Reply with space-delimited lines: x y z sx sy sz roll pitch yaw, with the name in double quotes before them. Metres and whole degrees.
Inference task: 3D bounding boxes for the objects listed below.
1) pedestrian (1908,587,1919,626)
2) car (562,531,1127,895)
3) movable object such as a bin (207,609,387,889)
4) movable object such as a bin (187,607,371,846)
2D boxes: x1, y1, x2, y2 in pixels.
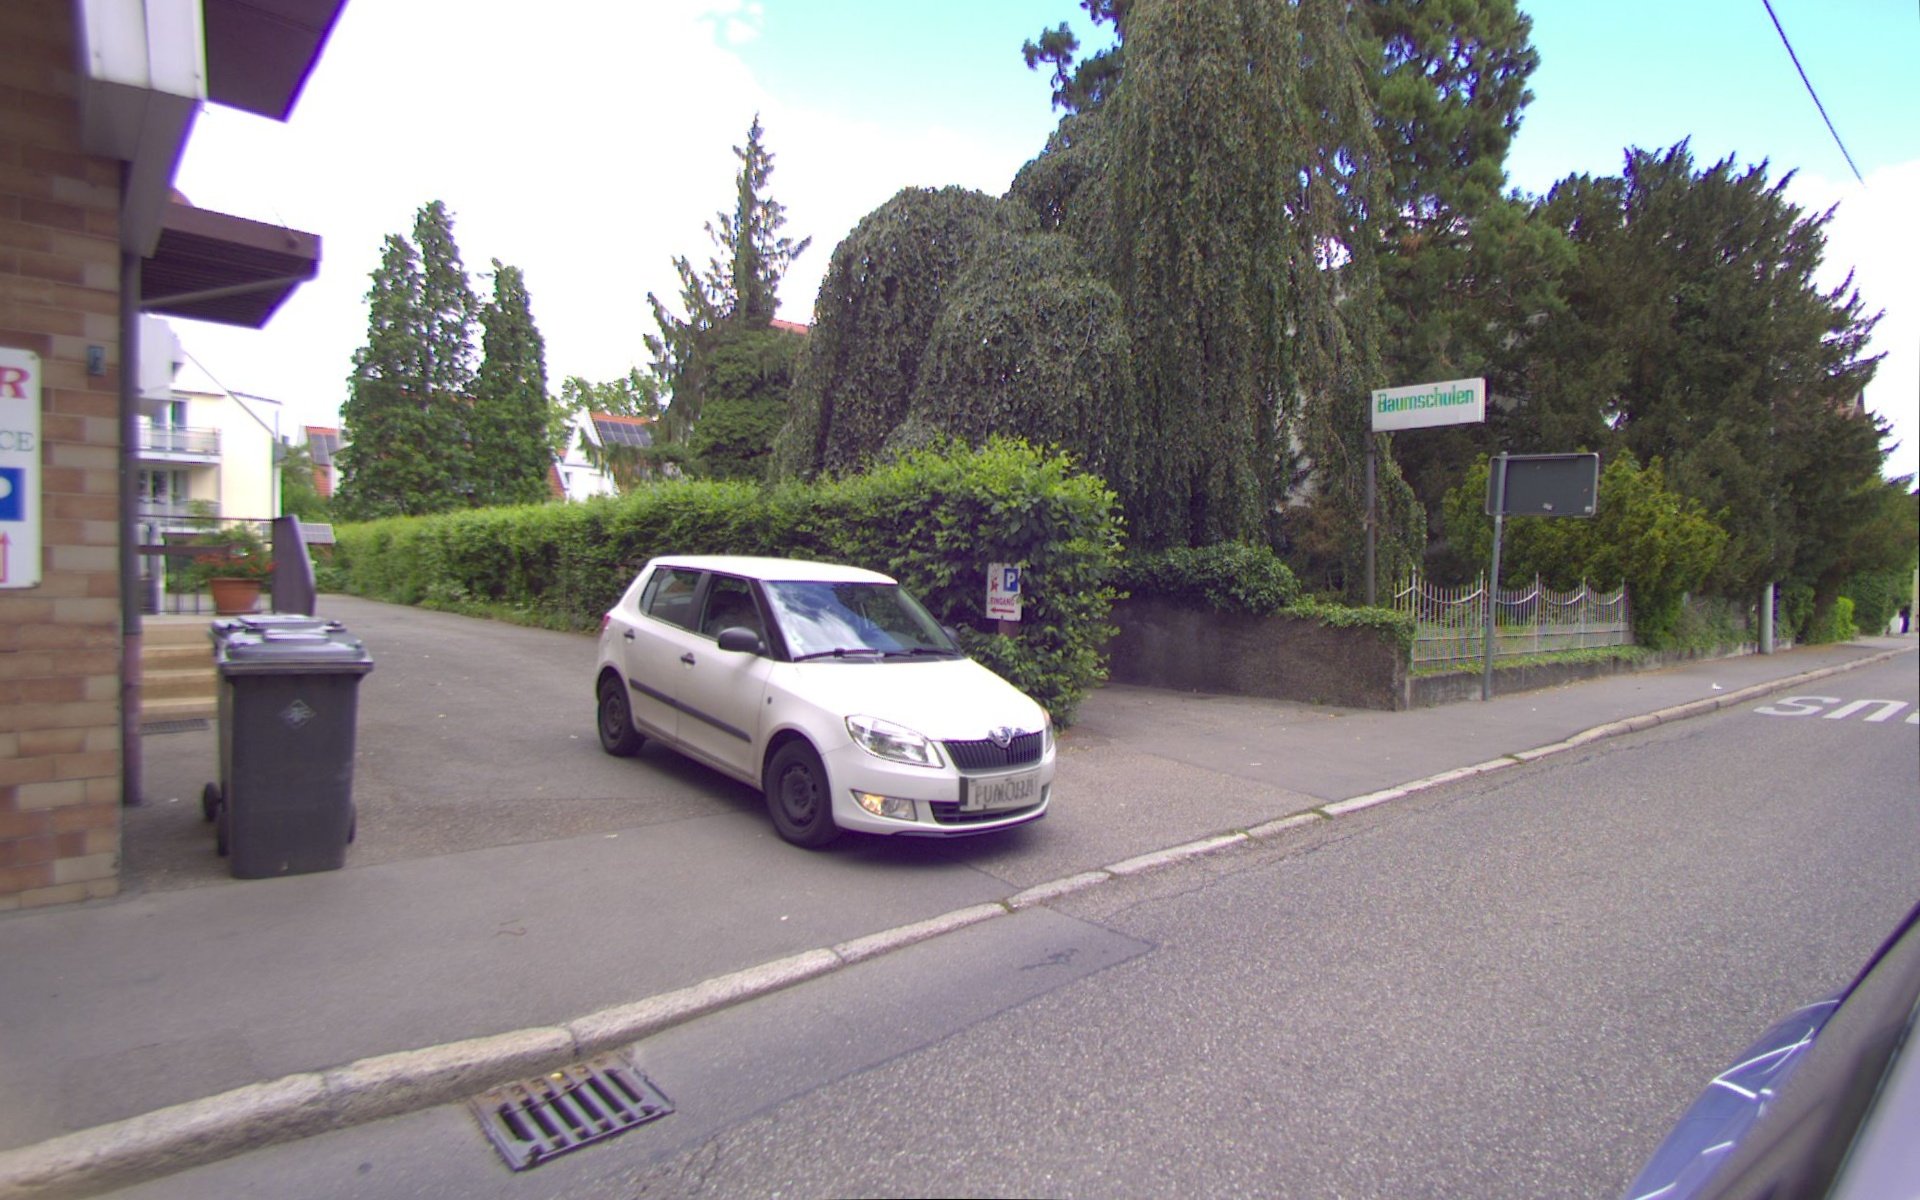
"pedestrian" 44.522 0.313 46.963 0.657 1.789 0.491 0 0 -10
"car" -1.034 0.421 6.678 1.574 1.487 4.036 -1 6 -43
"movable object such as a bin" -3.032 0.625 4.624 0.612 1.114 0.608 0 3 -41
"movable object such as a bin" -3.536 0.599 5.249 0.711 1.072 0.700 0 3 -41
